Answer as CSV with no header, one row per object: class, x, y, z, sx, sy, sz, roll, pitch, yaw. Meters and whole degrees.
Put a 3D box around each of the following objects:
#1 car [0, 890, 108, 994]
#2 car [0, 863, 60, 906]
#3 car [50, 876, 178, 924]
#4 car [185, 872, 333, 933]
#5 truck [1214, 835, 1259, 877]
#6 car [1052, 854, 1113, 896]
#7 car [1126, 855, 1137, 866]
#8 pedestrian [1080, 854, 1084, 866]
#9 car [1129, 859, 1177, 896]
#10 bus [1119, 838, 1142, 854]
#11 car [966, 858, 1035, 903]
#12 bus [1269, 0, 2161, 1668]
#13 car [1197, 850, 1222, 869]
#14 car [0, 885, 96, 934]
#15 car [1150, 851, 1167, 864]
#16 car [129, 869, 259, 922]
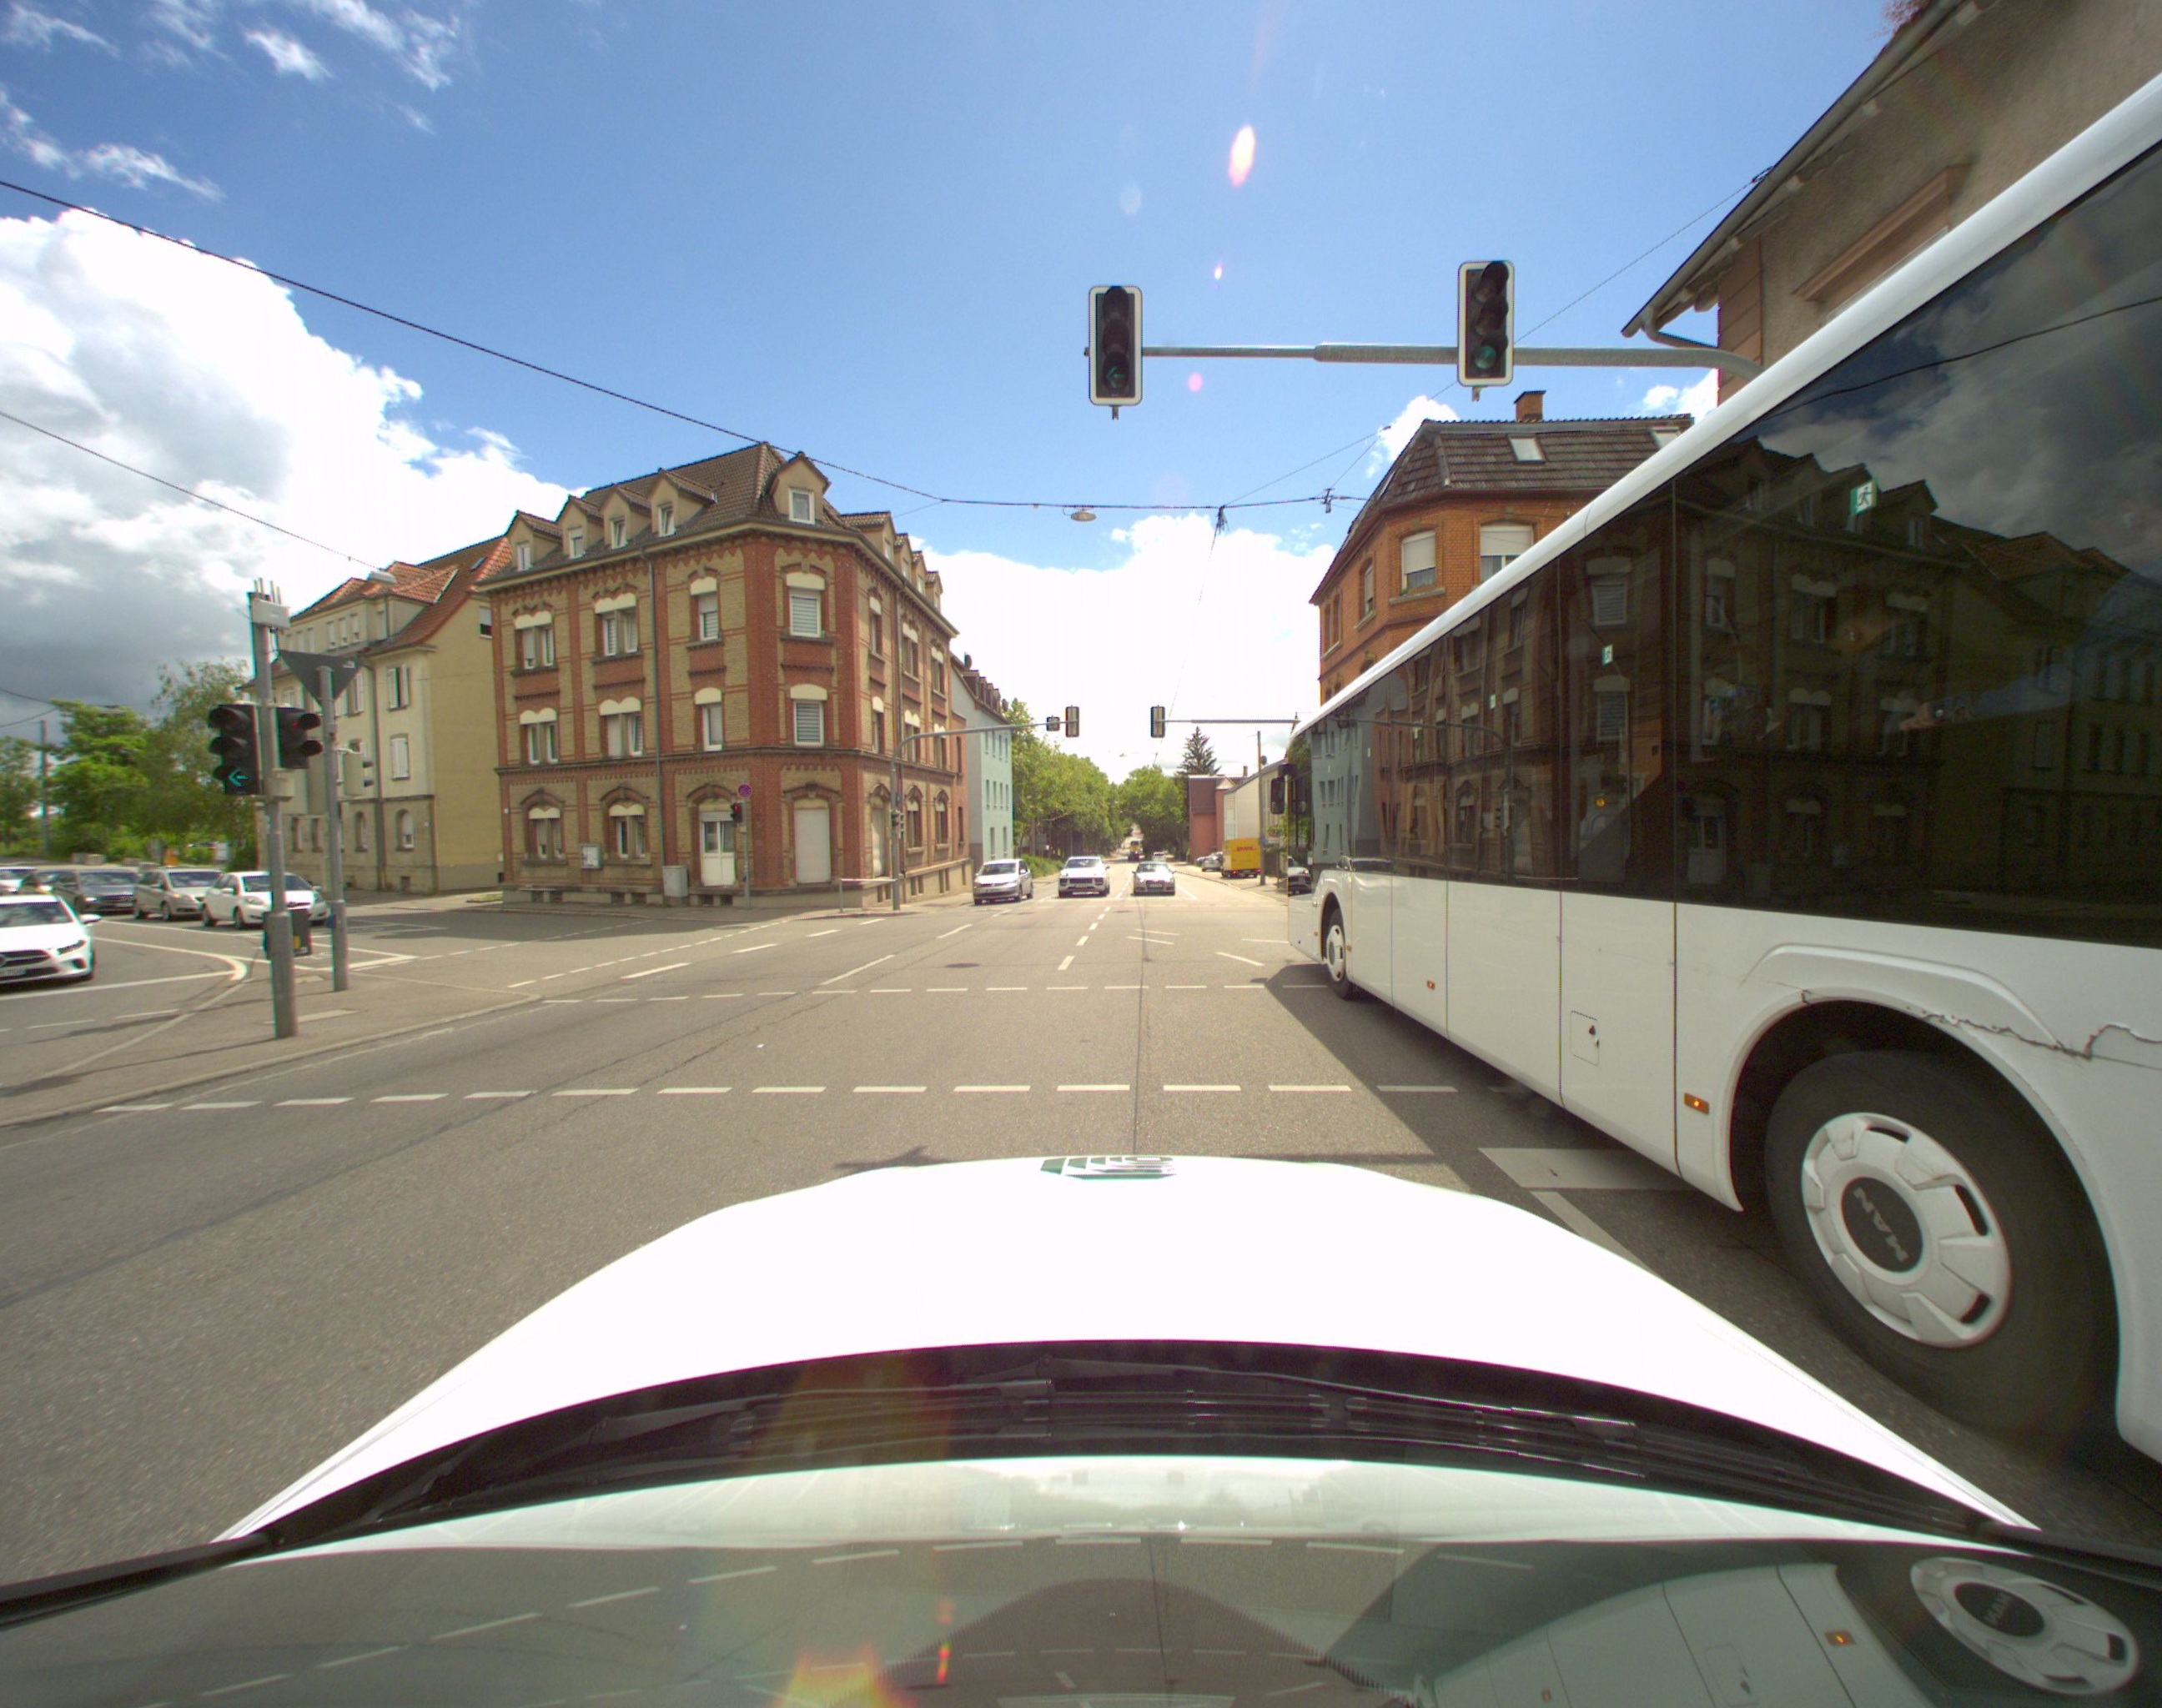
car,-17.732,1.414,13.497,4.334,1.447,1.875,-2,2,38
car,-45.601,1.285,34.720,3.949,1.720,1.957,-1,0,30
car,-34.026,1.587,28.651,3.950,1.519,2.012,-1,0,27
car,-22.714,1.291,22.490,3.950,1.497,1.712,-1,0,27
truck,11.412,0.190,60.172,2.530,2.913,6.580,0,0,4
car,0.133,0.824,34.661,2.197,1.613,4.552,-2,0,4
car,8.855,1.081,141.833,1.811,1.784,4.005,-2,0,4
pedestrian,0.178,0.921,126.690,0.604,1.758,0.654,-2,0,3
car,3.060,0.959,34.994,1.856,1.367,4.552,-2,0,4
bus,12.166,-1.915,202.656,3.300,3.631,11.207,-2,0,-9
car,-3.096,0.992,32.298,1.927,1.563,4.394,-2,0,4
bus,3.675,-0.280,5.310,2.891,3.510,12.502,0,0,4
car,12.760,0.563,80.980,1.903,1.817,4.002,-1,0,2
car,-39.367,2.044,30.848,4.290,1.586,2.013,-1,1,31
car,11.172,0.445,117.765,2.084,1.830,4.143,-1,0,1
car,-28.044,1.270,25.737,3.950,1.519,1.758,-1,0,27
